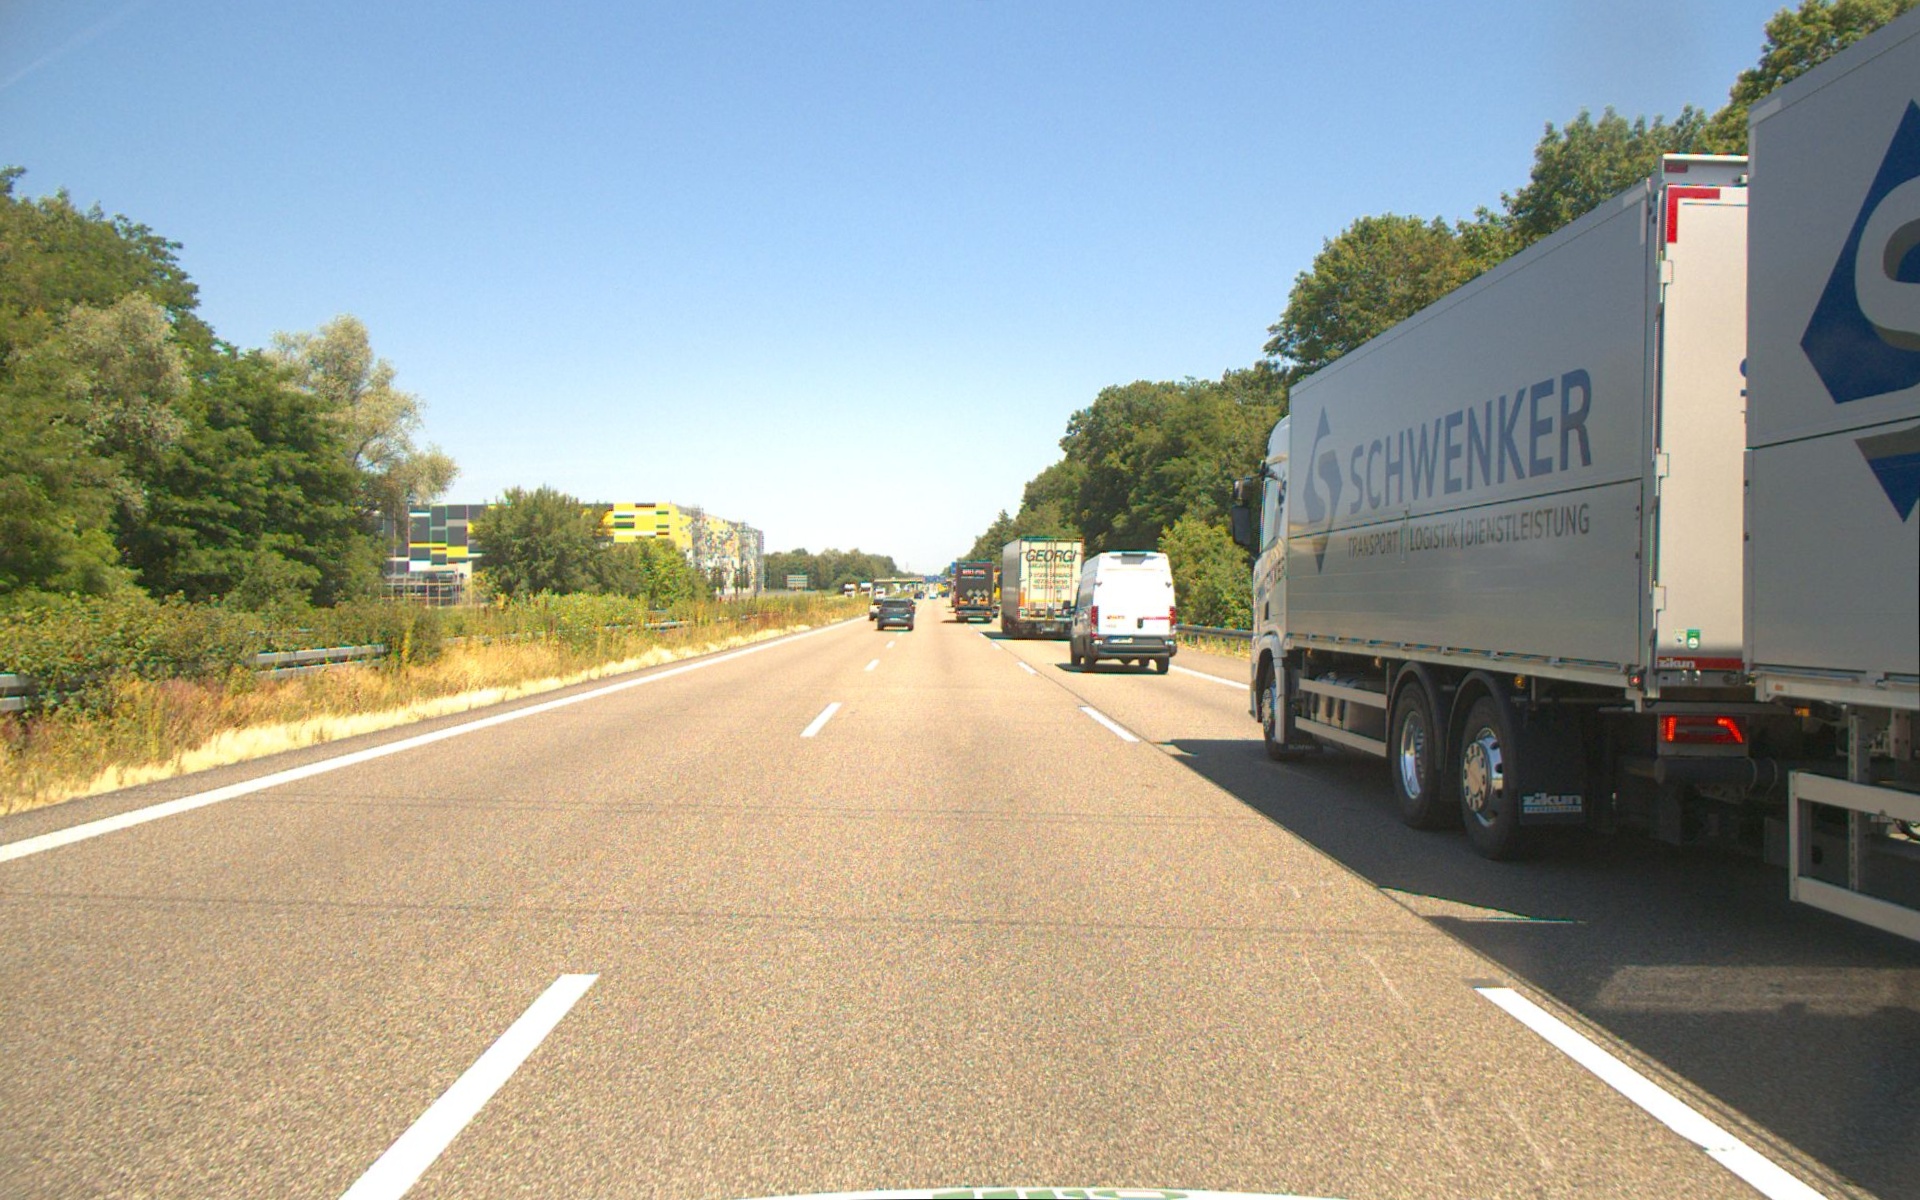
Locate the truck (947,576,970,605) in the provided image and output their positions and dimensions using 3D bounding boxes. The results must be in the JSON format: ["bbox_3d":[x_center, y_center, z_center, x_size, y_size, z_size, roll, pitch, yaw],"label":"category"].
[{"bbox_3d":[-0.286,-1.417,247.405,3.353,4.198,9.563,-1,0,0],"label":"truck"}]

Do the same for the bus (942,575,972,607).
[{"bbox_3d":[-0.358,-0.991,183.812,3.001,3.385,8.270,-1,0,-2],"label":"bus"}]

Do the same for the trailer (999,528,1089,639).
[{"bbox_3d":[3.483,-0.676,72.260,2.933,4.364,13.414,1,0,-1],"label":"trailer"}]

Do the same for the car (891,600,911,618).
[{"bbox_3d":[-5.713,0.911,161.372,1.902,1.736,3.999,0,0,-1],"label":"car"}]

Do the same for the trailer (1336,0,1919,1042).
[{"bbox_3d":[4.489,-0.517,9.352,2.861,4.112,7.315,1,0,-1],"label":"trailer"}]

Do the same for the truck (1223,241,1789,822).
[{"bbox_3d":[4.455,-0.478,15.251,2.830,4.100,6.868,1,0,-1],"label":"truck"}]

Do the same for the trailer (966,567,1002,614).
[{"bbox_3d":[2.121,-0.893,148.345,2.777,4.023,11.681,0,0,-1],"label":"trailer"}]

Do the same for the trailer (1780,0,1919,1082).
[{"bbox_3d":[4.645,-0.491,2.220,2.885,4.134,8.126,1,0,-1],"label":"trailer"}]

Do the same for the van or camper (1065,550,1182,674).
[{"bbox_3d":[3.794,0.261,39.502,1.981,2.683,6.485,1,0,-1],"label":"van or camper"}]

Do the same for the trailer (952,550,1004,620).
[{"bbox_3d":[1.152,-0.968,116.941,3.043,4.585,14.891,1,0,-2],"label":"trailer"}]

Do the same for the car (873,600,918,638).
[{"bbox_3d":[-3.232,0.934,83.487,2.171,1.821,5.392,0,0,-1],"label":"car"}]

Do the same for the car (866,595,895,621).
[{"bbox_3d":[-5.510,0.513,114.715,1.953,1.758,4.129,0,0,-2],"label":"car"}]

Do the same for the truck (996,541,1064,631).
[{"bbox_3d":[3.332,-0.637,80.015,2.942,4.197,5.251,1,0,-1],"label":"truck"}]
